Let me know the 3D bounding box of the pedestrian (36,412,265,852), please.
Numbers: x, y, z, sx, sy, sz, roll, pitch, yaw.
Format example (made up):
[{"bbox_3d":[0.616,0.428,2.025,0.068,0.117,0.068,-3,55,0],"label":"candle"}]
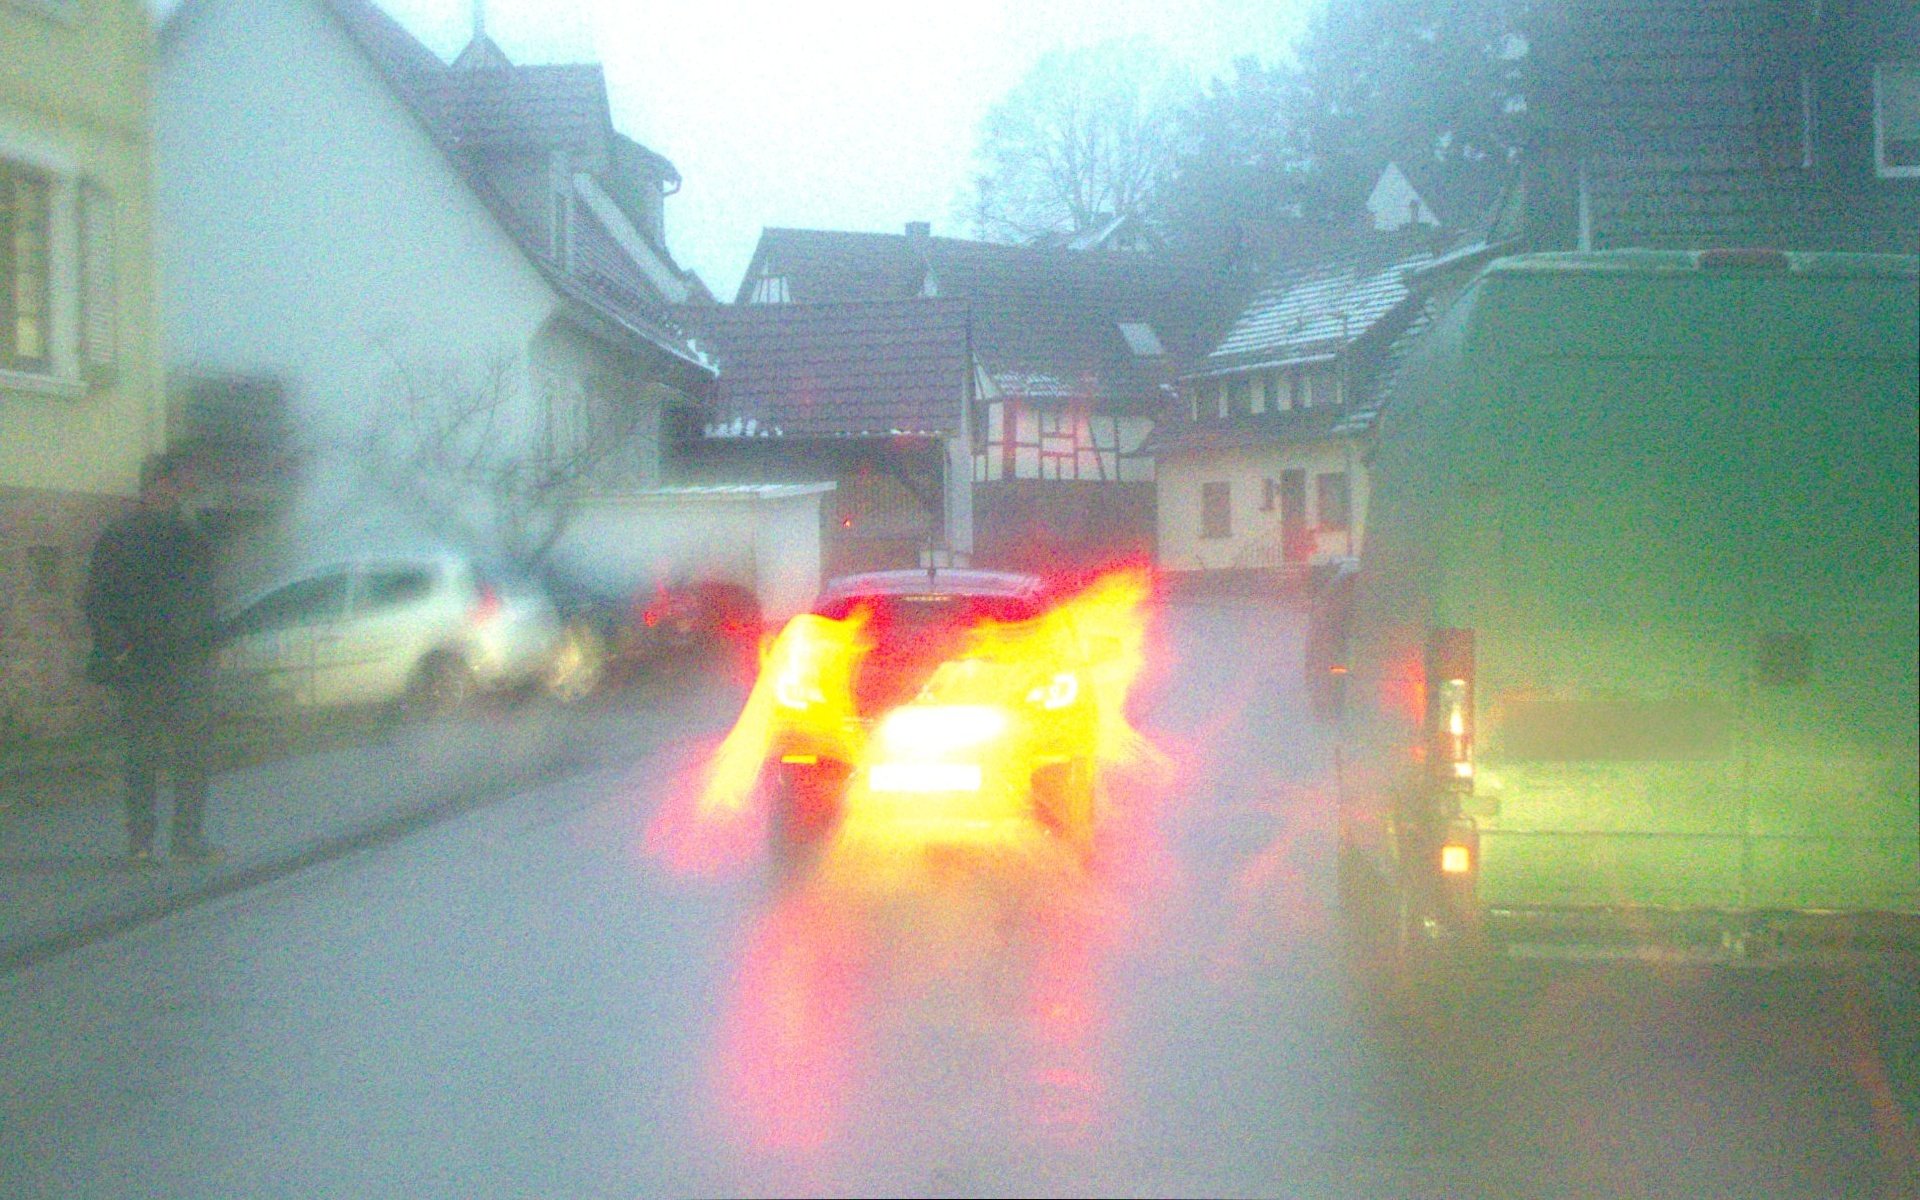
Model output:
[{"bbox_3d":[-3.808,0.143,16.232,0.783,2.007,0.869,1,0,5],"label":"pedestrian"}]

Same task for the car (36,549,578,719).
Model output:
[{"bbox_3d":[-6.104,0.310,32.338,4.605,1.465,1.891,-1,1,11],"label":"car"}]

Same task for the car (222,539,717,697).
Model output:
[{"bbox_3d":[-4.948,0.172,35.041,4.594,1.465,1.999,-1,1,7],"label":"car"}]

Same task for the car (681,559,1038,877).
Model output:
[{"bbox_3d":[-0.434,0.529,17.972,1.546,1.461,3.698,0,1,3],"label":"car"}]

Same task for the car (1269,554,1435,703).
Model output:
[{"bbox_3d":[4.171,0.260,36.395,1.638,1.466,3.999,1,1,7],"label":"car"}]

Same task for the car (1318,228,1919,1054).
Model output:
[{"bbox_3d":[2.493,0.078,13.031,2.009,2.445,5.614,1,1,4],"label":"car"}]
